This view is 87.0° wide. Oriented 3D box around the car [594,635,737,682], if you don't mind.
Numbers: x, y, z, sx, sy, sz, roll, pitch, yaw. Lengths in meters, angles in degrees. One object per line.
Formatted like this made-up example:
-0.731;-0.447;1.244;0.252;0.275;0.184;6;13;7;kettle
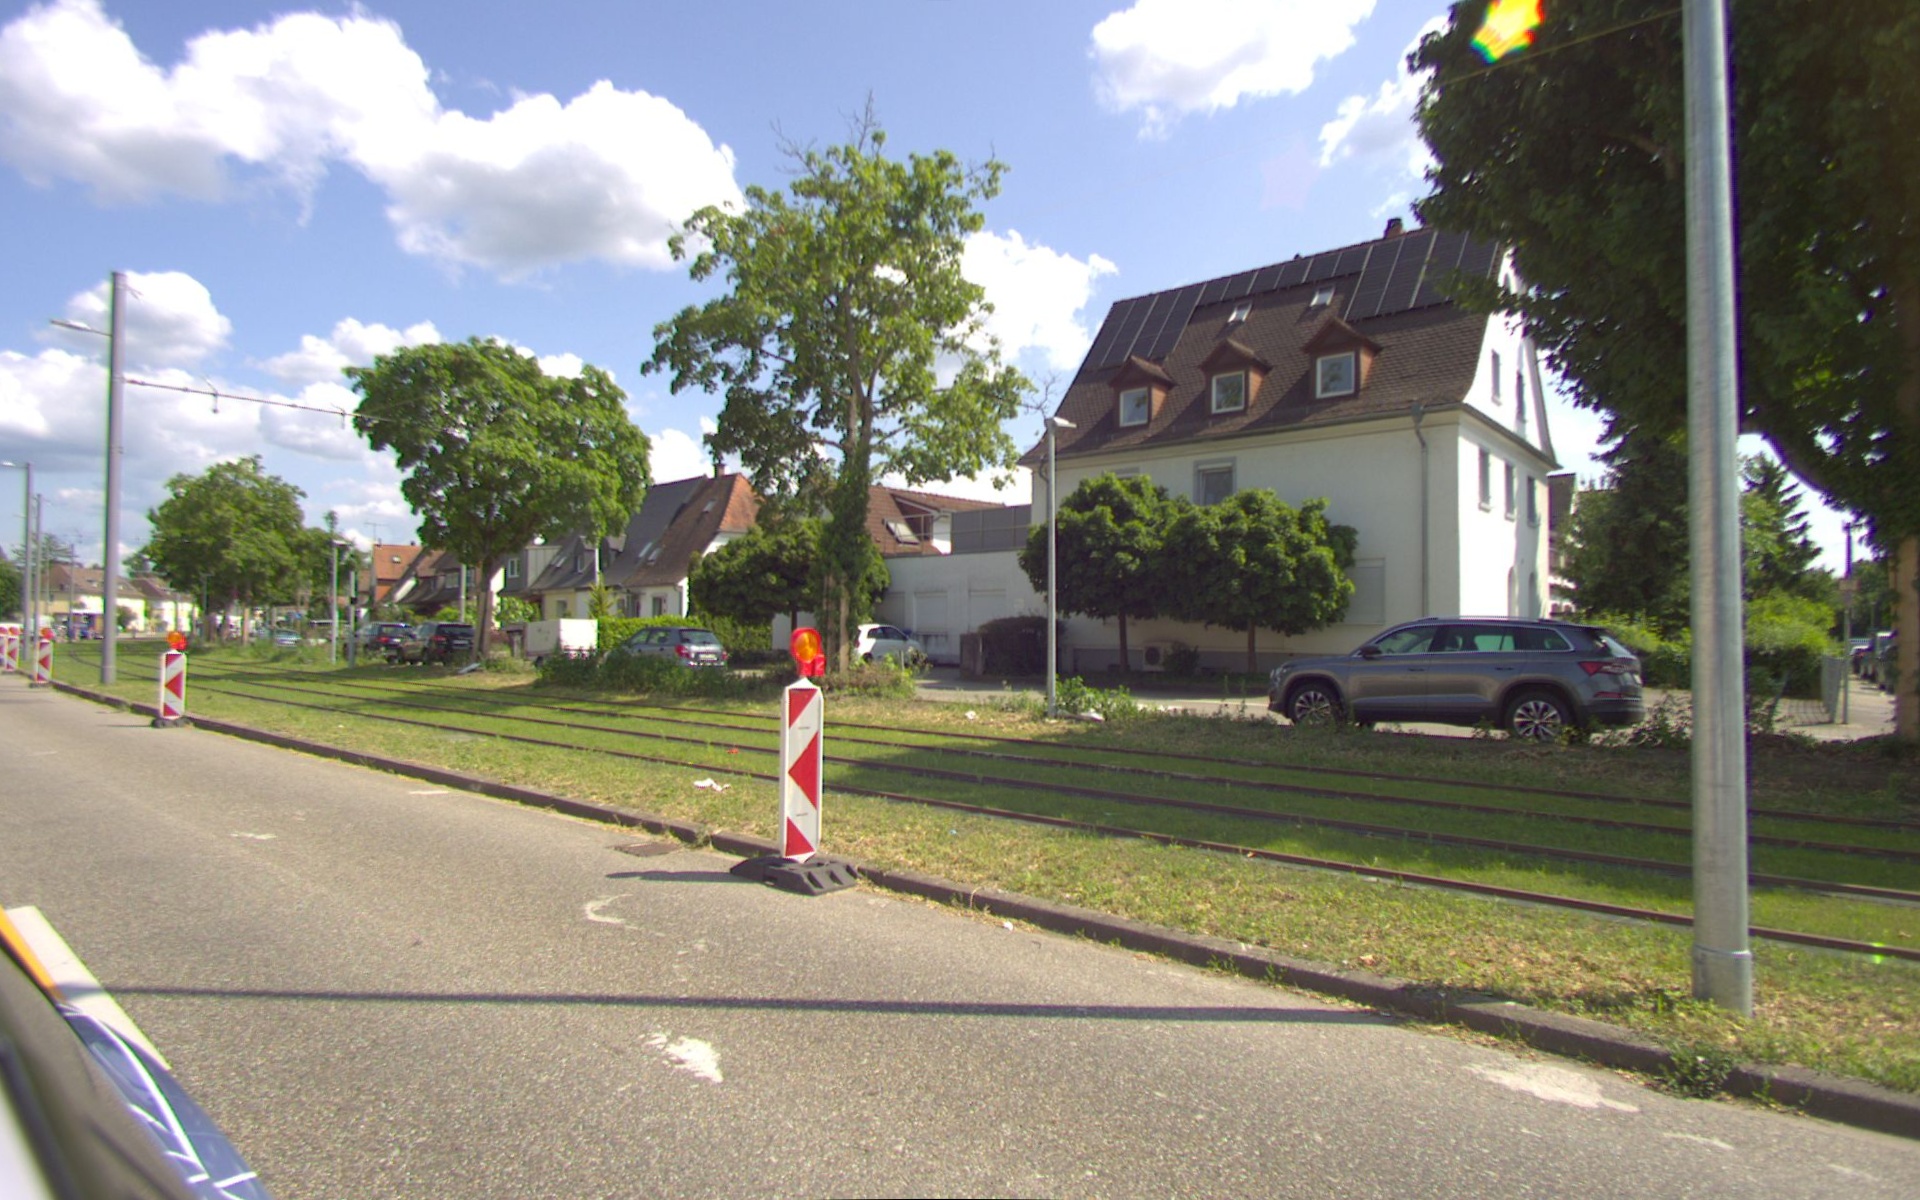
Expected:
-7.721;1.494;26.391;3.834;1.101;1.763;-1;-3;41;car

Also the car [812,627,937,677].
-2.843;1.789;34.164;1.998;1.539;3.946;-5;-6;40;car

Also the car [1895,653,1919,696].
28.716;2.196;29.619;1.936;1.211;3.492;-1;-4;43;car

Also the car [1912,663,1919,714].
22.283;1.968;22.067;1.999;1.143;3.945;-1;-3;41;car

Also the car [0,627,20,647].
-76.616;2.967;81.106;1.490;1.510;3.582;3;-4;-37;car

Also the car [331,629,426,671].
-23.136;1.962;40.214;4.321;1.551;1.972;-1;-3;42;car

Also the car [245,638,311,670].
-36.089;2.853;53.546;4.323;1.551;1.971;-1;-4;44;car

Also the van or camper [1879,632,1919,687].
38.005;2.394;40.496;1.768;2.116;4.179;-1;-4;42;van or camper

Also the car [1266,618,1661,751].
6.723;1.039;13.801;4.484;1.517;1.973;-1;-3;41;car

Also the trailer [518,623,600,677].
-11.762;1.450;29.675;2.280;1.530;1.286;-1;-4;41;trailer

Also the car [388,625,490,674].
-18.994;1.838;36.845;4.099;1.590;1.885;-3;-8;42;car

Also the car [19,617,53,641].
-84.485;2.673;92.534;1.813;2.070;3.876;3;-4;-37;car
